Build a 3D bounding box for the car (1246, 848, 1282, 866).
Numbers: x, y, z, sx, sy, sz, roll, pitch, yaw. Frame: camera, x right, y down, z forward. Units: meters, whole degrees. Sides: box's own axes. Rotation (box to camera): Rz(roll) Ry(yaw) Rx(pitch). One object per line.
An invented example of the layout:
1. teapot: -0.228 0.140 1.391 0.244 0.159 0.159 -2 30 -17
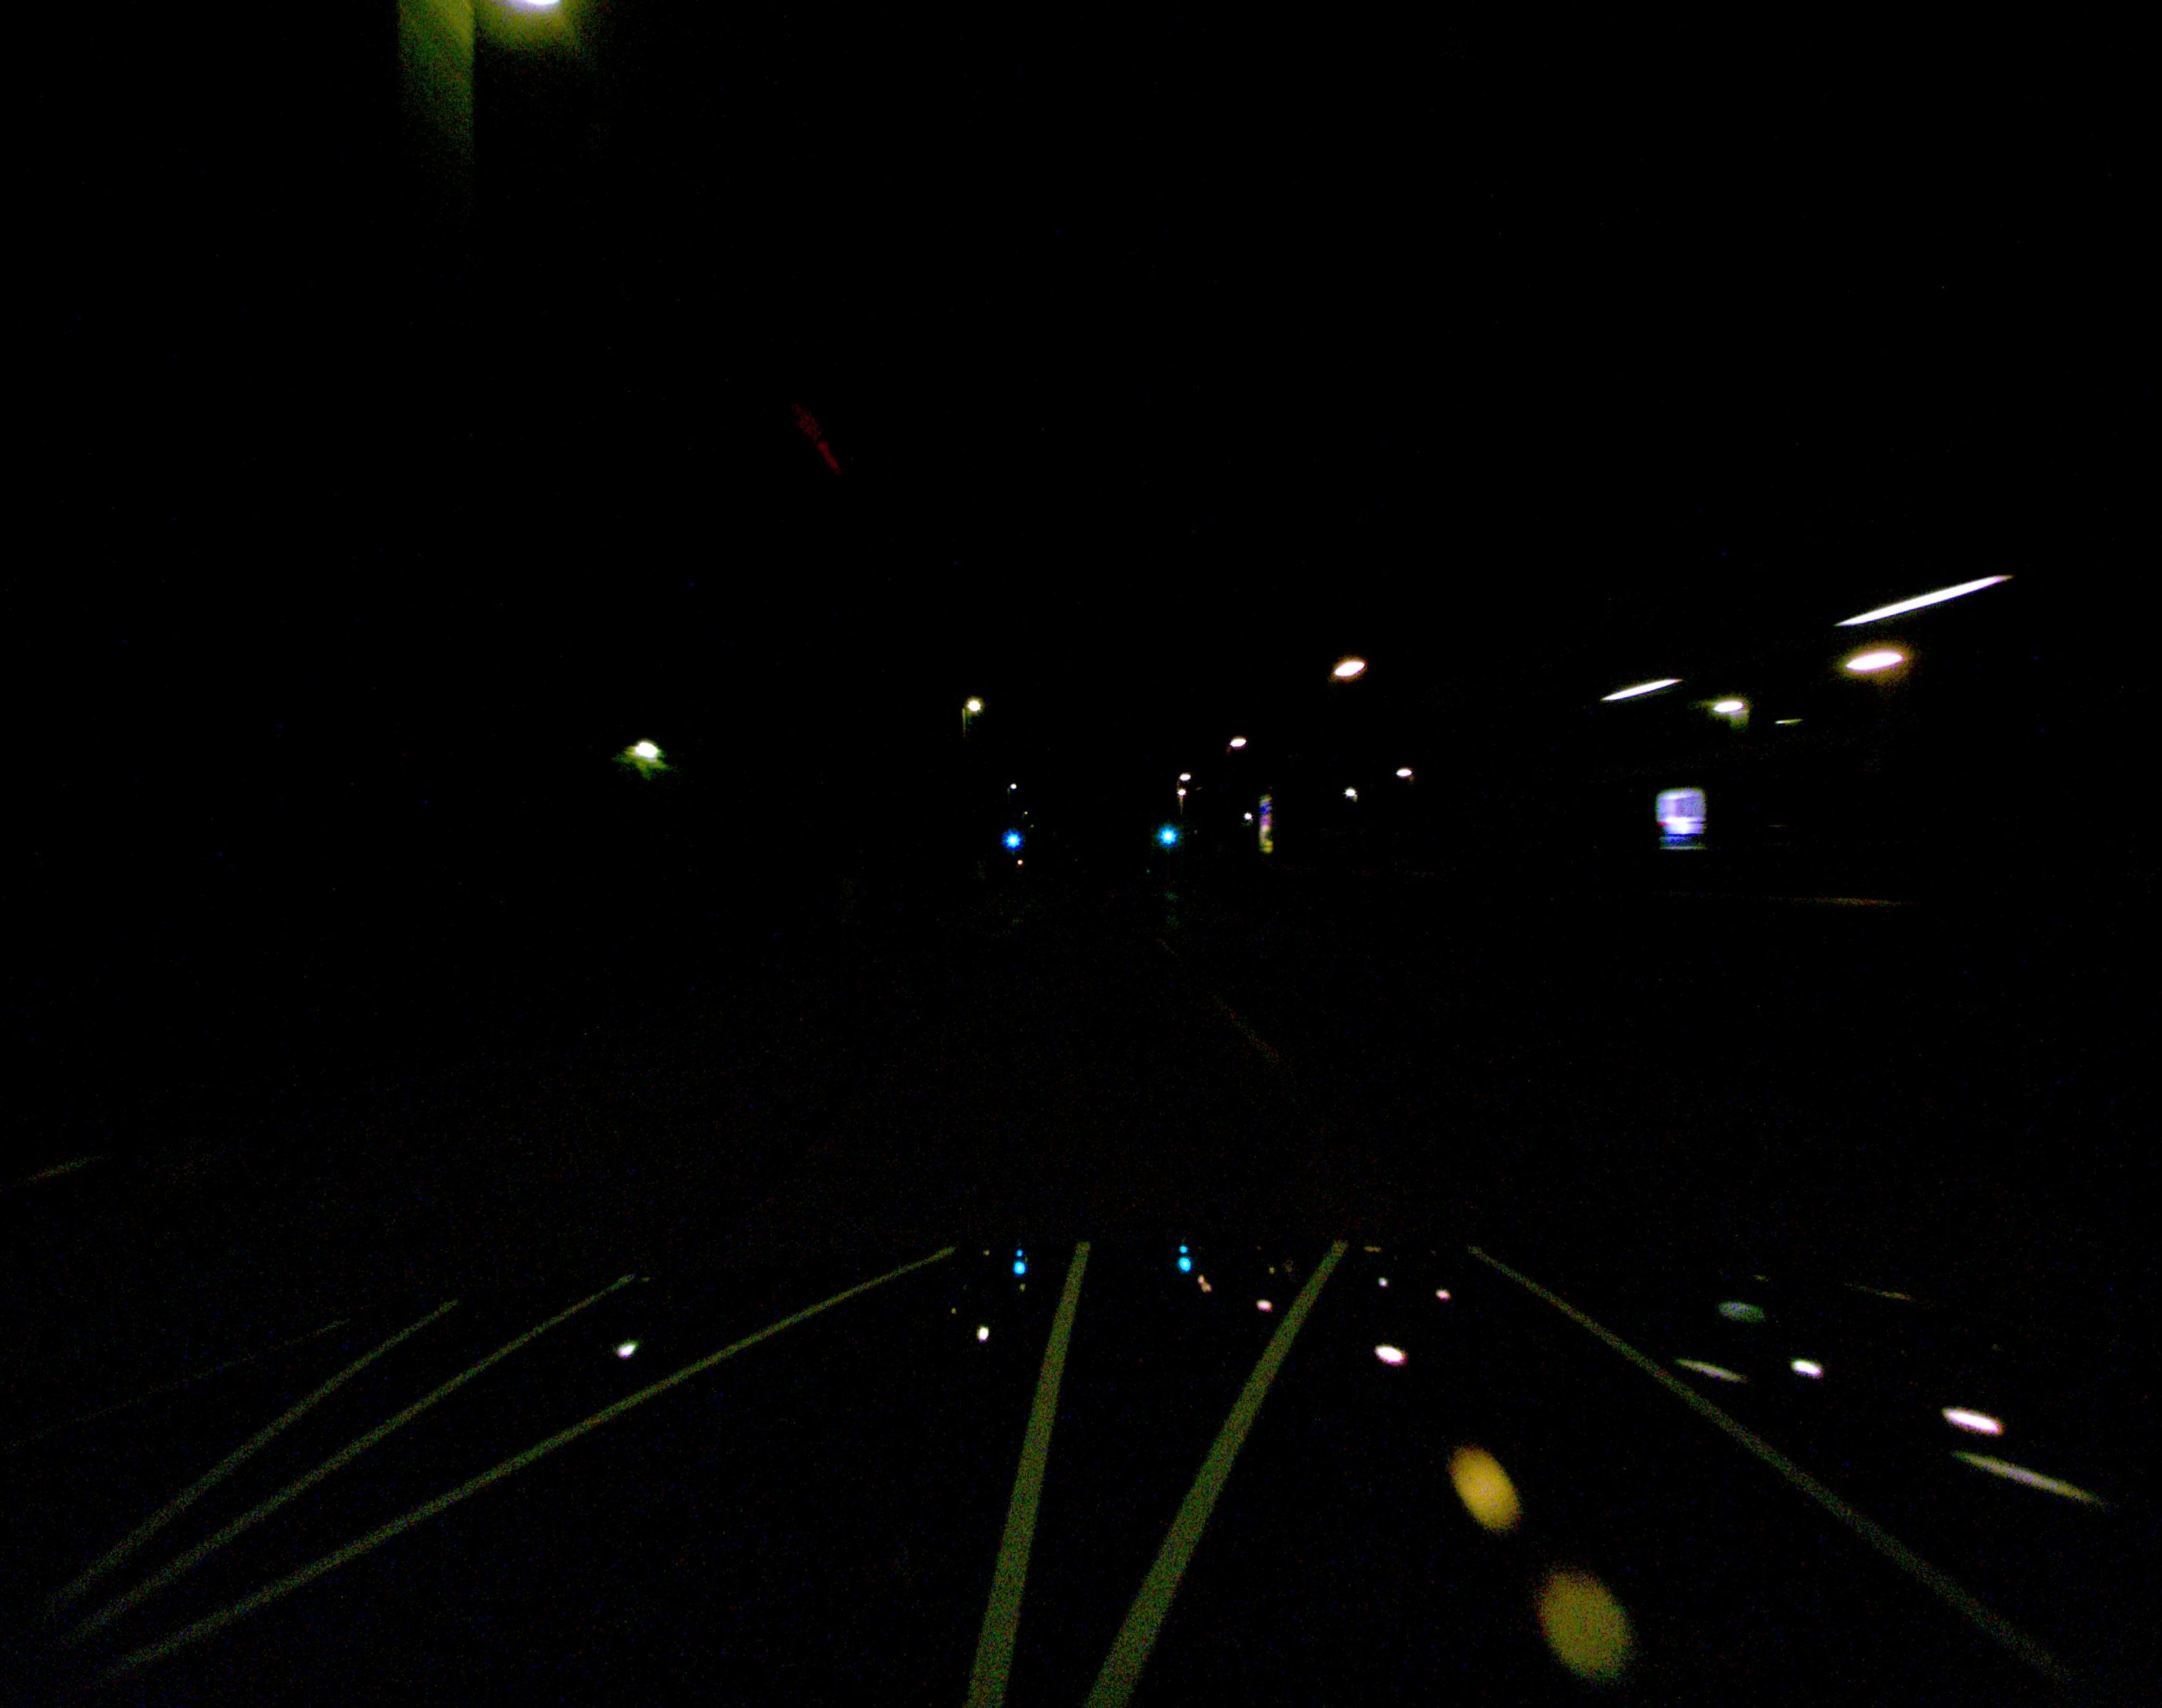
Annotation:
1. car: 15.810 0.242 65.857 1.871 1.496 4.093 0 0 -4
